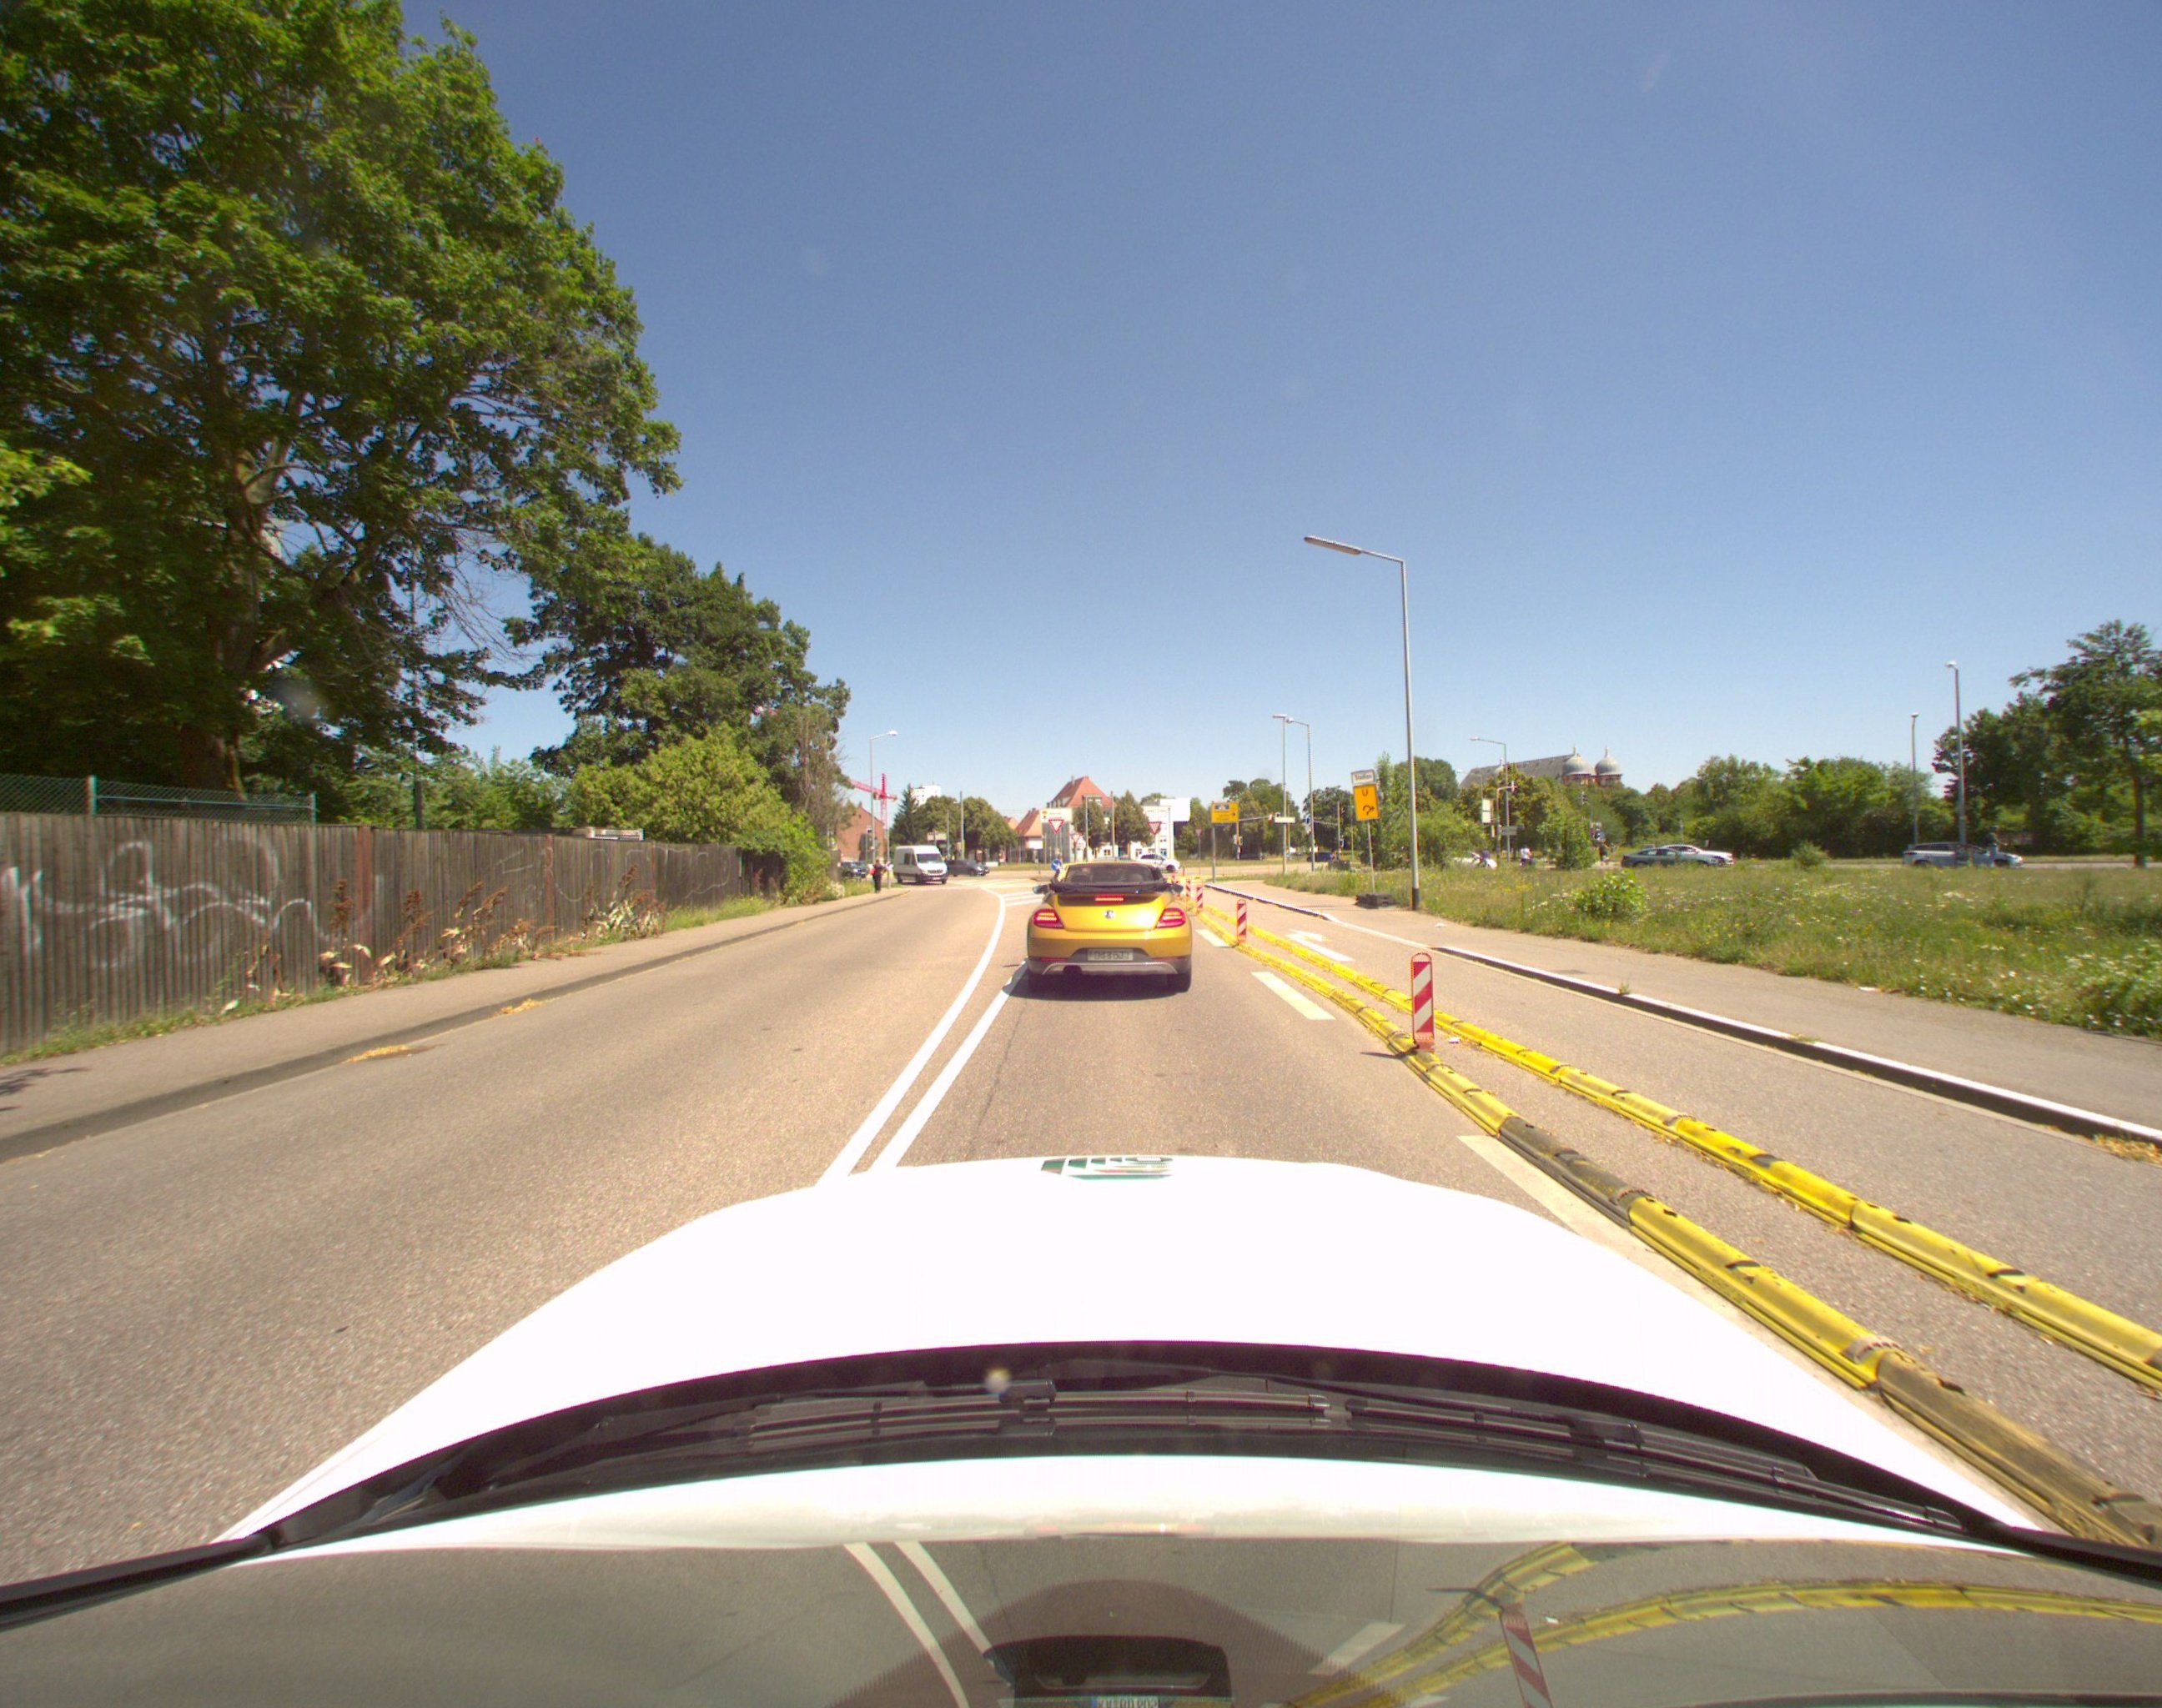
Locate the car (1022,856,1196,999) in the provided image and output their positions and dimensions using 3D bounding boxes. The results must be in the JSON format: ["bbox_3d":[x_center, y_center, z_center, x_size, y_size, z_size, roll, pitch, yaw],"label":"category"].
[{"bbox_3d":[0.340,0.754,10.095,1.746,1.422,3.779,0,-1,2],"label":"car"}]

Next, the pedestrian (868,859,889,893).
[{"bbox_3d":[-9.671,1.047,38.841,0.806,1.563,0.876,0,-1,-2],"label":"pedestrian"}]

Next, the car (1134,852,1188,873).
[{"bbox_3d":[6.191,0.668,63.063,3.961,1.552,1.745,-1,-1,11],"label":"car"}]

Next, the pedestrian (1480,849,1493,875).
[{"bbox_3d":[25.060,0.492,50.336,0.495,1.563,0.514,0,-1,2],"label":"pedestrian"}]

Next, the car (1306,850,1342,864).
[{"bbox_3d":[32.545,0.395,109.212,2.027,1.786,4.897,-2,0,-21],"label":"car"}]

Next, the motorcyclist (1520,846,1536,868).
[{"bbox_3d":[26.630,0.177,48.537,0.616,1.289,0.576,0,-1,-27],"label":"motorcyclist"}]

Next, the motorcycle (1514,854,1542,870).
[{"bbox_3d":[26.607,0.465,48.489,1.712,0.970,0.625,0,-1,-28],"label":"motorcycle"}]

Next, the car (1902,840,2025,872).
[{"bbox_3d":[43.602,0.125,40.388,4.024,1.505,2.012,-1,-1,45],"label":"car"}]

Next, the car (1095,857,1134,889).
[{"bbox_3d":[1.561,0.855,38.088,1.730,1.442,4.002,0,-1,2],"label":"car"}]

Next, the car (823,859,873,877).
[{"bbox_3d":[-21.134,1.288,73.752,4.389,1.596,2.013,-1,-1,35],"label":"car"}]

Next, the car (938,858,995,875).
[{"bbox_3d":[-9.379,1.025,66.756,4.160,1.391,1.910,-1,-1,17],"label":"car"}]

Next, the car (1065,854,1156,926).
[{"bbox_3d":[0.673,0.746,18.552,1.841,1.442,4.002,0,-1,2],"label":"car"}]

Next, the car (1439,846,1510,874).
[{"bbox_3d":[25.782,0.401,53.447,3.957,1.816,1.778,-1,-1,15],"label":"car"}]

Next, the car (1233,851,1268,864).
[{"bbox_3d":[24.566,0.528,117.970,2.034,1.786,4.880,-2,-1,-33],"label":"car"}]

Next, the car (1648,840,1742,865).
[{"bbox_3d":[39.278,-0.072,52.161,4.584,1.552,1.750,-1,-1,44],"label":"car"}]

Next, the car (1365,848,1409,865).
[{"bbox_3d":[36.513,0.322,97.259,2.026,1.786,5.147,-2,0,-19],"label":"car"}]

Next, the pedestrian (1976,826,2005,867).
[{"bbox_3d":[38.510,-0.306,34.492,0.727,1.691,0.501,-1,-1,41],"label":"pedestrian"}]

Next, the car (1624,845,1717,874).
[{"bbox_3d":[34.635,0.315,47.907,4.352,1.552,1.751,1,0,38],"label":"car"}]

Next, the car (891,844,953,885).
[{"bbox_3d":[-10.927,0.736,55.418,2.032,2.539,6.762,-2,-1,-29],"label":"car"}]
